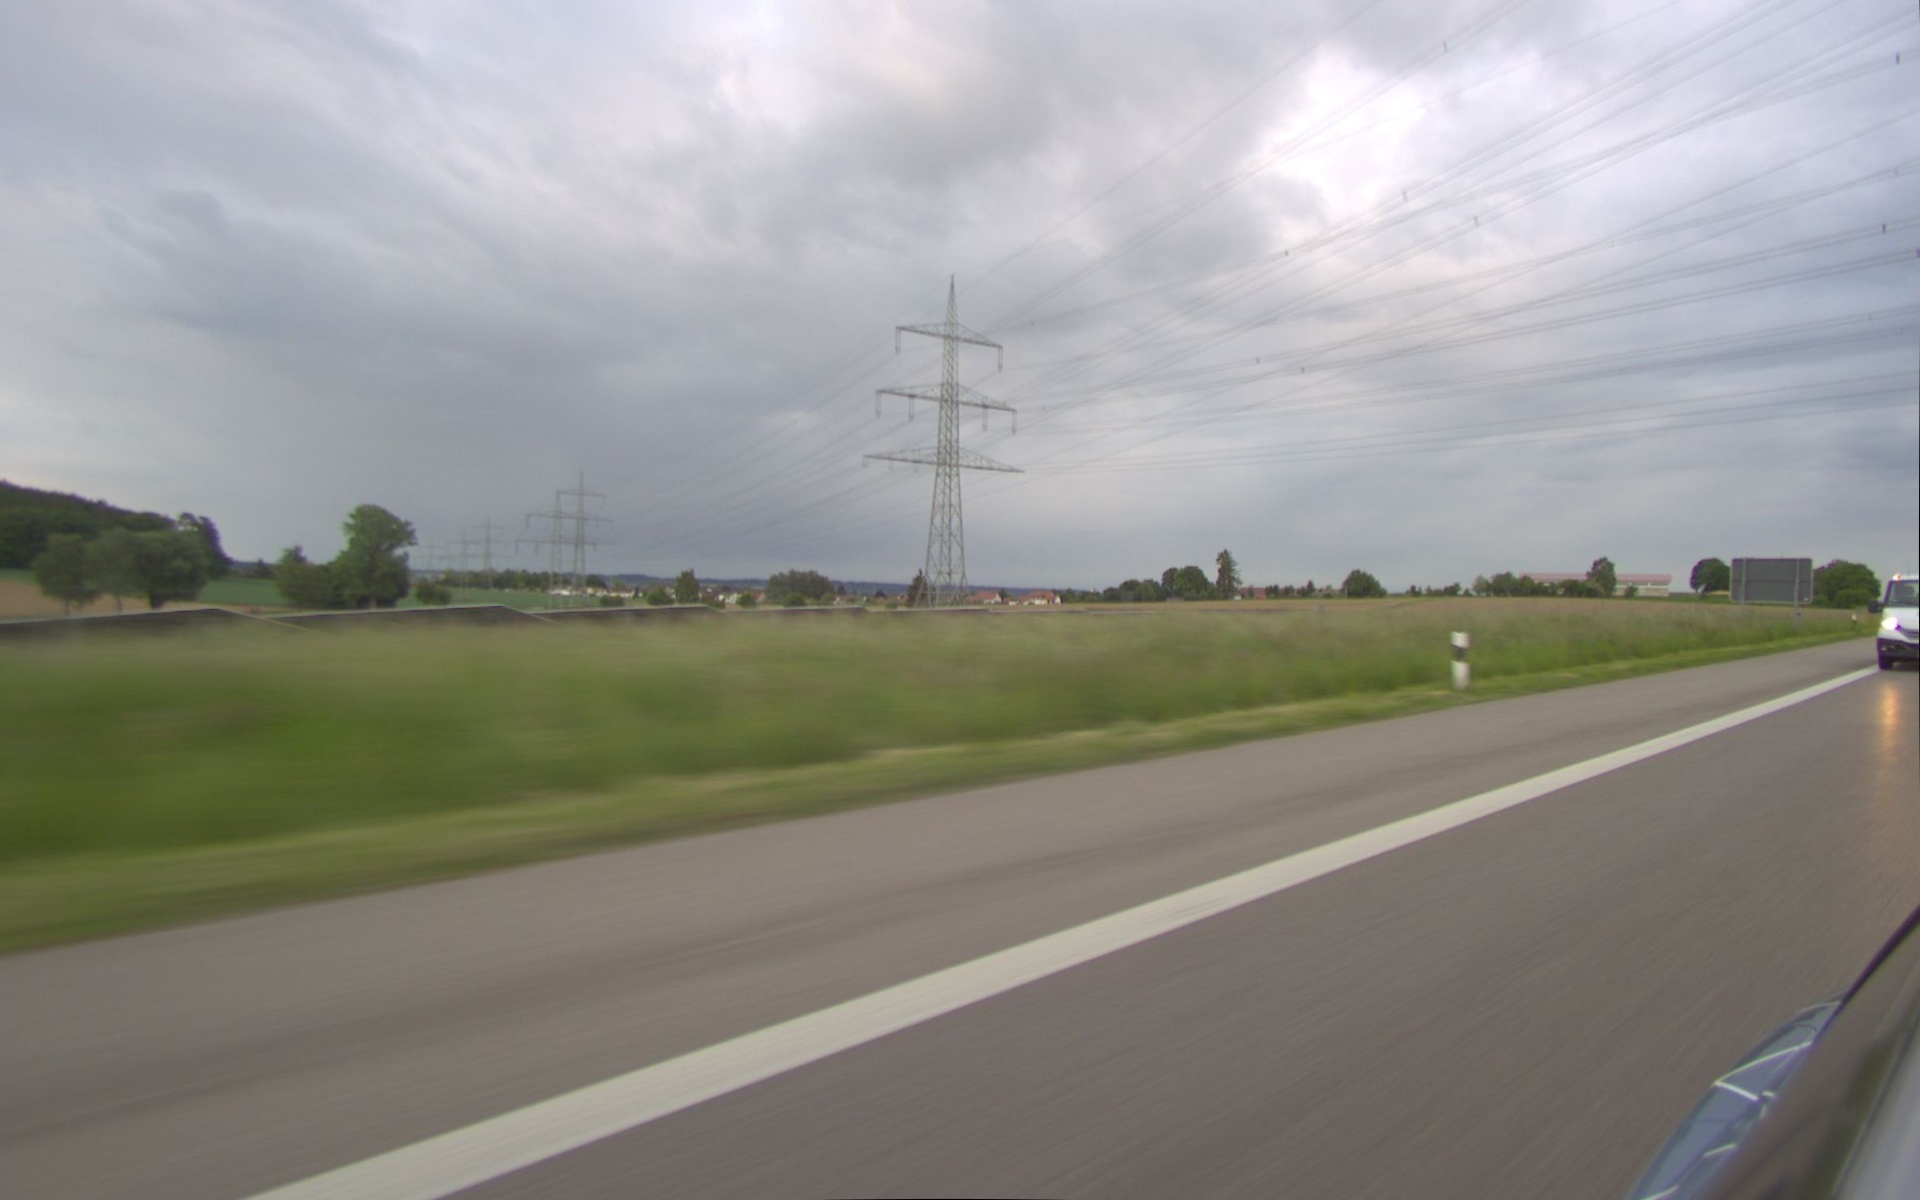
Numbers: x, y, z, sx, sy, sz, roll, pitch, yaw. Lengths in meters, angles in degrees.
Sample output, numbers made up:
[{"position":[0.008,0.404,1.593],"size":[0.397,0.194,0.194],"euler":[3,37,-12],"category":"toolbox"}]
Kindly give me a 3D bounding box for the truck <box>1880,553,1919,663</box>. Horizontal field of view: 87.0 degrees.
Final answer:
[{"position":[24.079,0.174,24.407],"size":[7.566,2.390,2.174],"euler":[0,-1,-43],"category":"truck"}]
